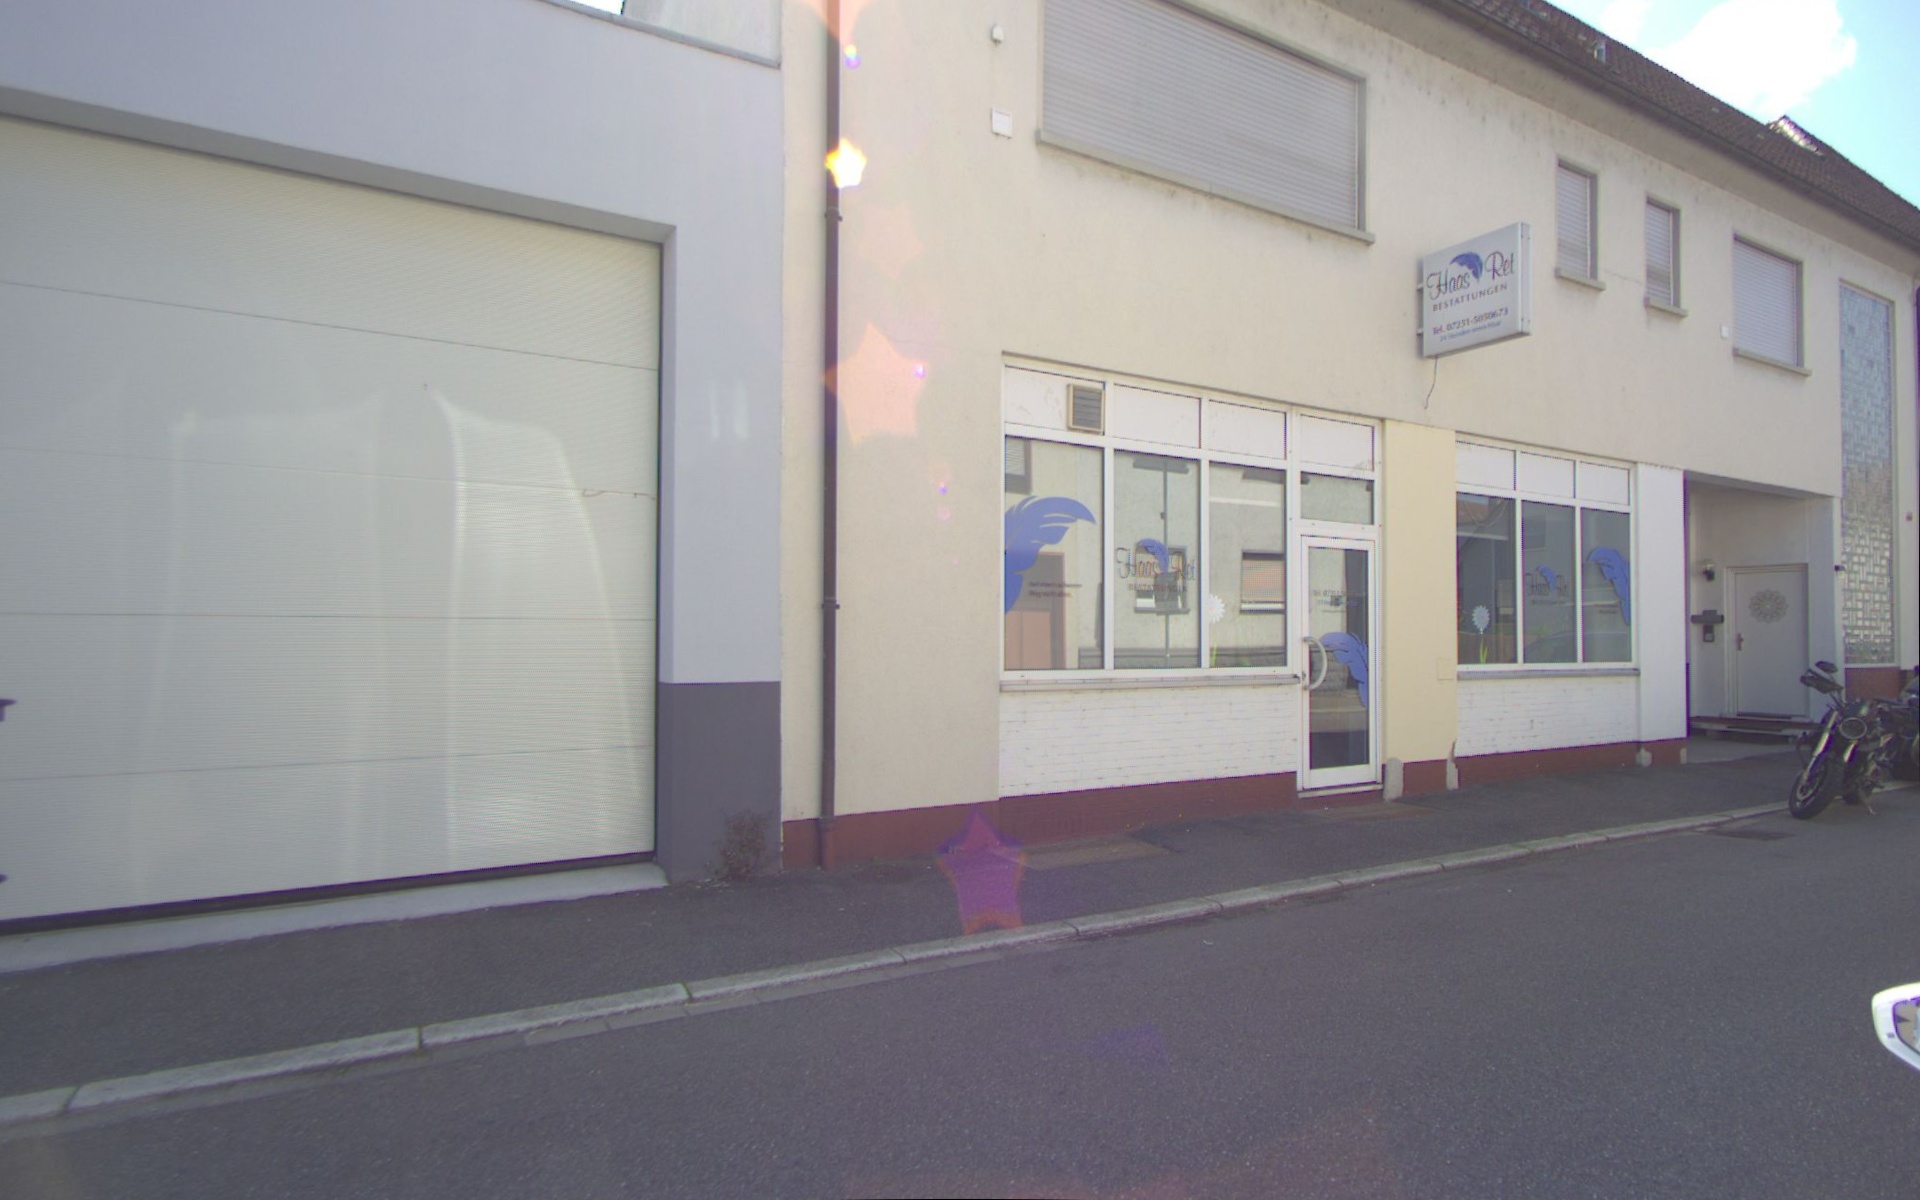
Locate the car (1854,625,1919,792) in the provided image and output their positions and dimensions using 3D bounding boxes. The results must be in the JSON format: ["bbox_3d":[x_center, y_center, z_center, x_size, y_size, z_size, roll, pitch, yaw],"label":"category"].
[{"bbox_3d":[11.540,1.093,10.778,4.101,1.660,1.709,1,-4,-31],"label":"car"}]

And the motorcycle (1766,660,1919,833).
[{"bbox_3d":[8.084,1.219,8.875,2.081,1.329,0.804,1,-2,-30],"label":"motorcycle"}]
